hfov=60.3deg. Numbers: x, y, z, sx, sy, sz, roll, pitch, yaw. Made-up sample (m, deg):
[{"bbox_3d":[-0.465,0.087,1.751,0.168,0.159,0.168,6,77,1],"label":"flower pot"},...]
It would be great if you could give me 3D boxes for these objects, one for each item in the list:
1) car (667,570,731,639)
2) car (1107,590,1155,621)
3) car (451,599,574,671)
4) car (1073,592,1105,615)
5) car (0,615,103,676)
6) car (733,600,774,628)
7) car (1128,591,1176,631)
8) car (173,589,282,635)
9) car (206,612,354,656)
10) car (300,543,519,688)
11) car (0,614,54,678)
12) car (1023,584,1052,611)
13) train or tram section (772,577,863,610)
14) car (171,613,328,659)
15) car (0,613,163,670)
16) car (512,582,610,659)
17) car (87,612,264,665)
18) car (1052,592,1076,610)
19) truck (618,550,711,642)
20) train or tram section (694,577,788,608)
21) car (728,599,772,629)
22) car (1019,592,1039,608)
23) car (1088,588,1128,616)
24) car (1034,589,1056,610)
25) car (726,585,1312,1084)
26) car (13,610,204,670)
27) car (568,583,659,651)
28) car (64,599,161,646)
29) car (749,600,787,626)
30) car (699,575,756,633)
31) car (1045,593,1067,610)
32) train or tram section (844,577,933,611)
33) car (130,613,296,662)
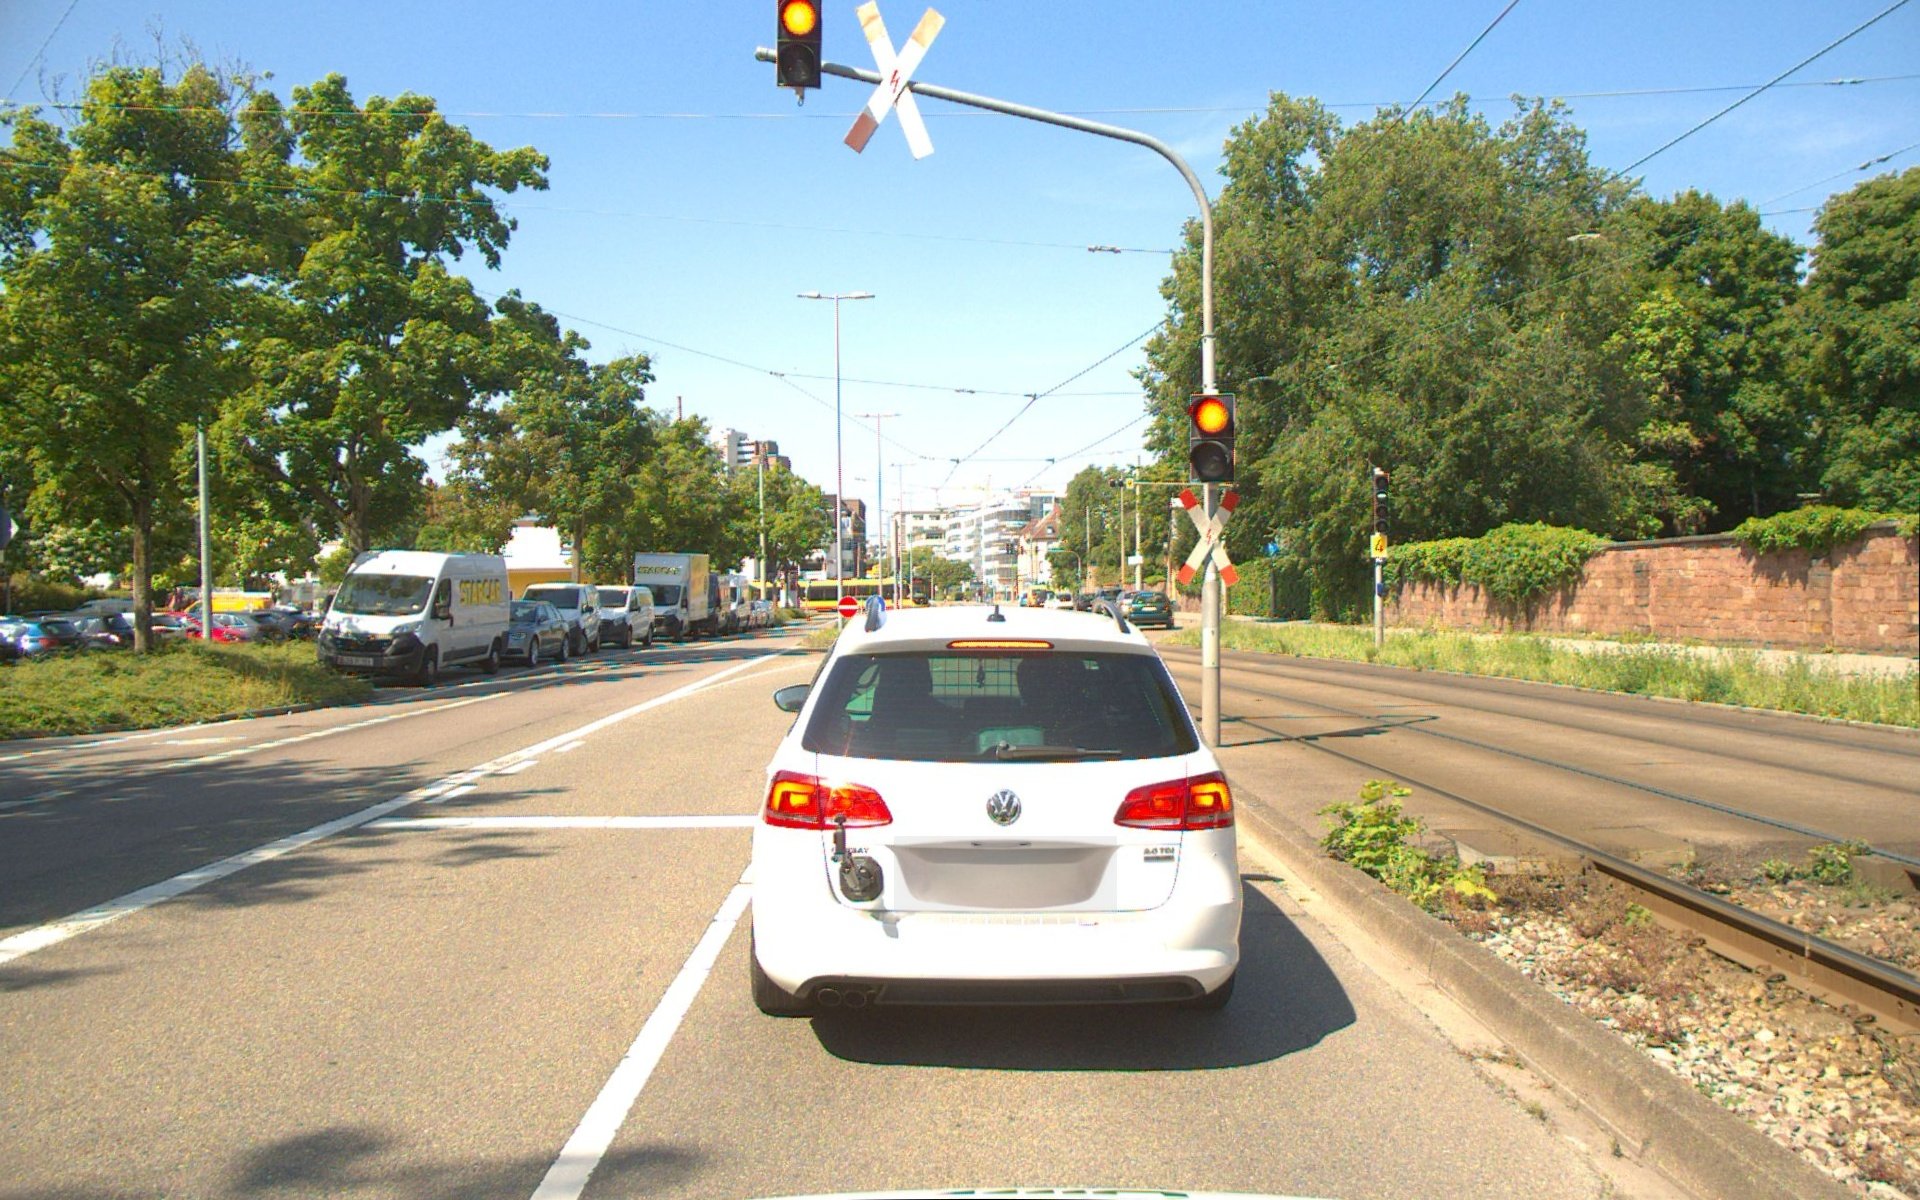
[{"bbox_3d":[-10.750,0.152,68.442,1.806,2.715,5.003,-1,0,0],"label":"car"},{"bbox_3d":[8.295,0.240,80.744,1.823,1.441,4.324,1,0,-1],"label":"car"},{"bbox_3d":[-10.520,0.776,39.193,1.806,1.543,4.196,-1,0,-1],"label":"car"},{"bbox_3d":[8.217,0.214,105.733,1.710,1.432,3.912,1,0,-1],"label":"car"},{"bbox_3d":[-21.254,1.006,36.349,3.904,1.246,1.772,-1,0,2],"label":"car"},{"bbox_3d":[-11.496,0.785,92.317,1.806,1.458,4.037,-1,0,-1],"label":"car"},{"bbox_3d":[7.135,0.393,61.622,1.709,1.412,3.916,1,0,6],"label":"car"},{"bbox_3d":[-34.157,0.571,77.235,4.175,2.049,1.997,1,-1,-7],"label":"car"},{"bbox_3d":[-21.417,1.057,52.159,3.904,1.246,1.772,-1,0,2],"label":"car"},{"bbox_3d":[-10.735,0.253,32.890,2.016,2.544,6.309,1,0,2],"label":"car"},{"bbox_3d":[-20.940,0.978,33.724,3.907,1.246,1.770,-1,0,-3],"label":"car"},{"bbox_3d":[7.579,-0.236,162.962,2.413,2.542,5.908,1,0,-1],"label":"car"},{"bbox_3d":[-15.151,-0.709,175.417,10.588,3.309,2.300,1,-1,35],"label":"train or tram section"},{"bbox_3d":[-21.381,1.081,49.862,3.904,1.246,1.772,-1,0,2],"label":"car"},{"bbox_3d":[-21.505,1.000,39.651,3.904,1.246,1.772,-1,0,2],"label":"car"},{"bbox_3d":[-11.018,0.528,45.963,1.807,1.971,5.189,-1,0,-5],"label":"car"},{"bbox_3d":[-21.152,1.023,44.696,3.904,1.286,1.772,-1,0,2],"label":"car"},{"bbox_3d":[7.954,0.072,127.151,1.549,1.370,3.453,1,0,-1],"label":"car"},{"bbox_3d":[-10.800,-0.157,61.081,2.309,3.177,6.889,-1,0,-2],"label":"truck"},{"bbox_3d":[-23.946,-0.834,180.793,10.771,3.310,2.306,1,-1,27],"label":"train or tram section"},{"bbox_3d":[-10.867,0.733,85.960,1.806,1.458,4.037,-1,0,-1],"label":"car"},{"bbox_3d":[7.366,0.020,177.376,1.953,1.624,3.999,1,0,0],"label":"car"},{"bbox_3d":[8.312,0.090,93.096,1.823,1.539,3.912,1,0,-1],"label":"car"},{"bbox_3d":[7.532,-0.034,146.698,1.657,1.844,3.453,1,0,-1],"label":"car"},{"bbox_3d":[0.128,0.693,6.900,1.732,1.471,3.912,1,0,-2],"label":"car"},{"bbox_3d":[-21.664,1.011,42.172,3.904,1.373,1.772,-1,0,2],"label":"car"},{"bbox_3d":[-10.921,0.493,52.461,1.806,1.995,5.133,-1,0,0],"label":"car"},{"bbox_3d":[-36.910,0.963,72.065,3.354,1.909,1.552,-1,0,-3],"label":"car"},{"bbox_3d":[-11.245,0.740,97.096,1.744,1.458,4.037,-1,0,-1],"label":"car"},{"bbox_3d":[-10.699,0.141,76.431,1.806,2.538,5.856,-1,0,0],"label":"car"},{"bbox_3d":[7.966,0.152,138.037,1.549,1.370,3.453,1,0,-1],"label":"car"},{"bbox_3d":[-7.402,-0.614,168.634,2.291,3.309,11.092,2,-1,-44],"label":"train or tram section"},{"bbox_3d":[-21.321,1.053,47.317,3.904,1.246,1.772,-1,0,2],"label":"car"}]
